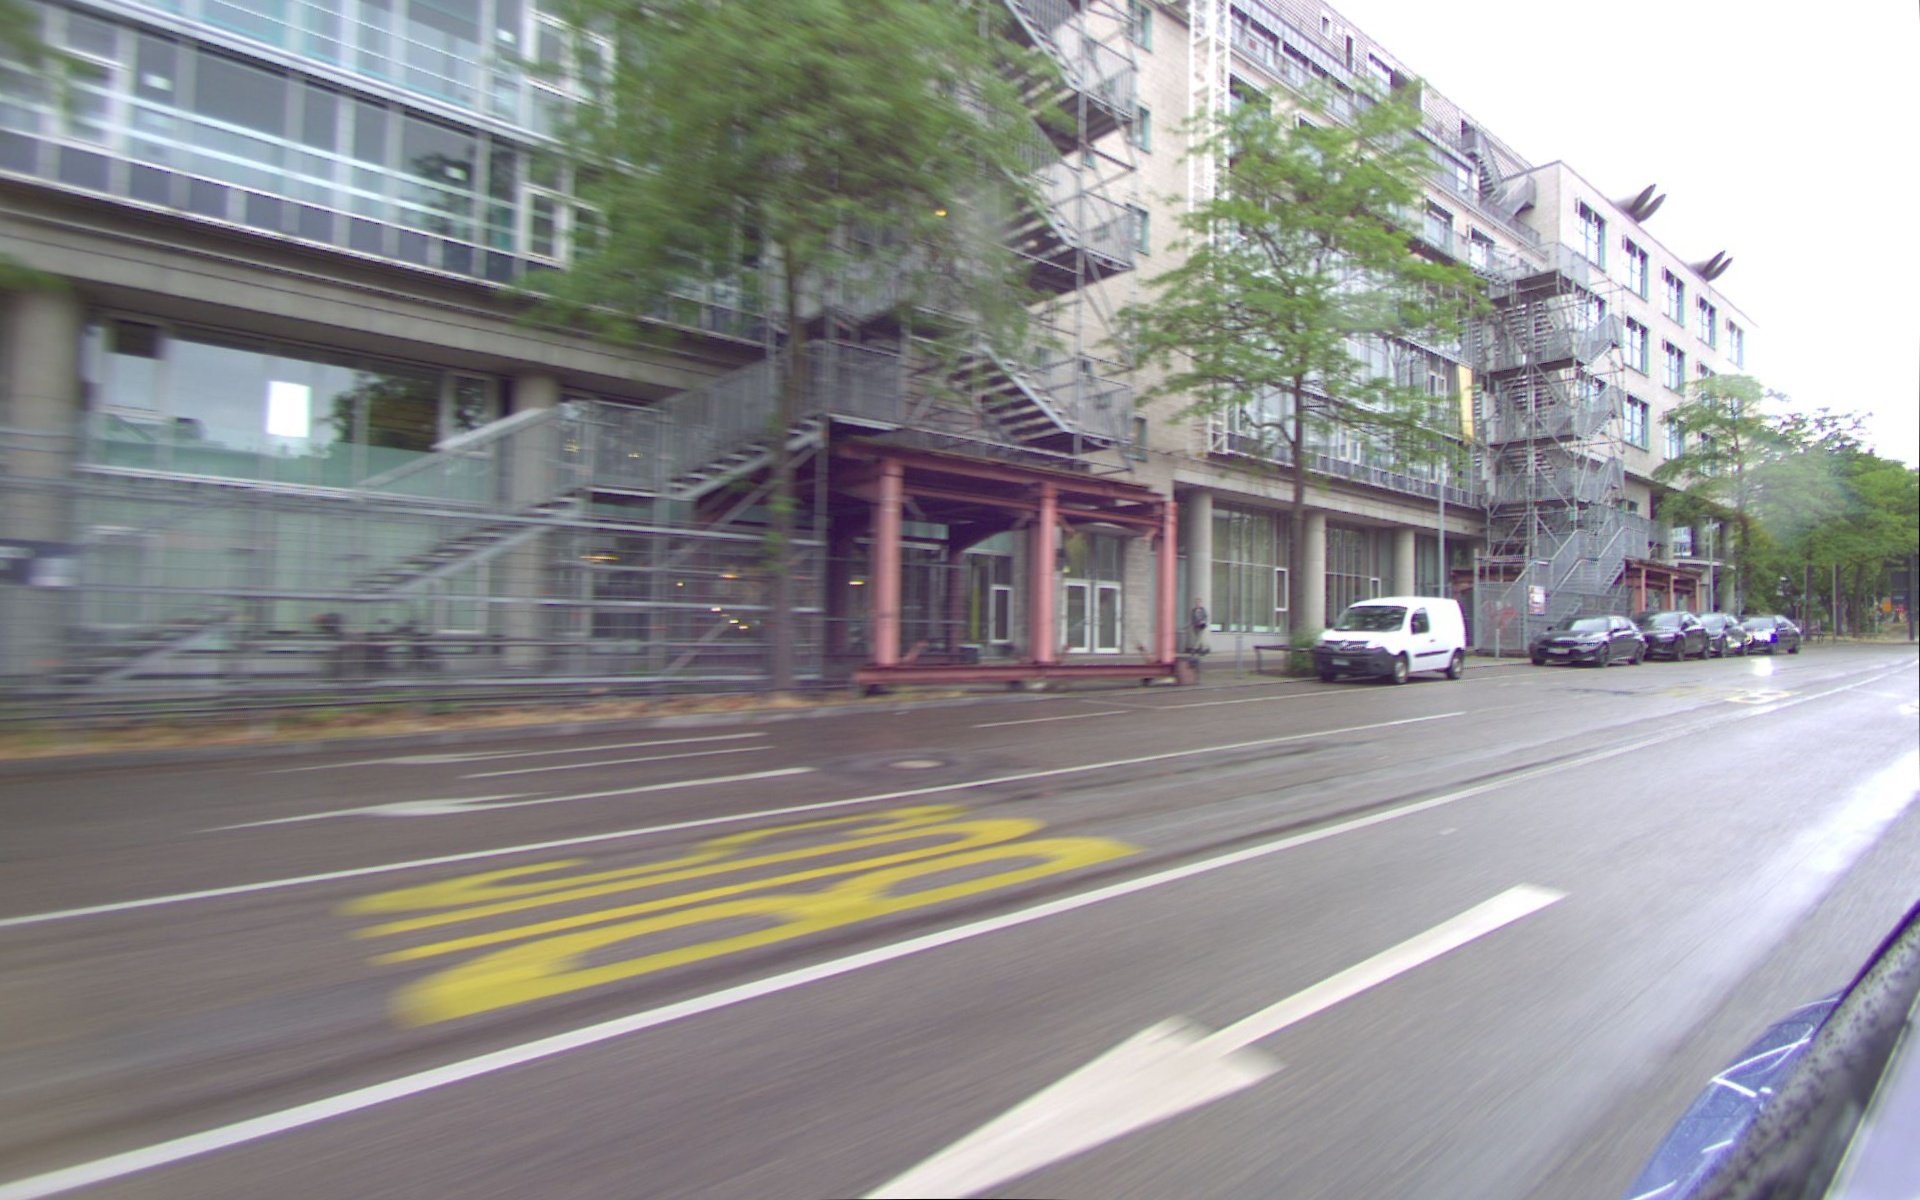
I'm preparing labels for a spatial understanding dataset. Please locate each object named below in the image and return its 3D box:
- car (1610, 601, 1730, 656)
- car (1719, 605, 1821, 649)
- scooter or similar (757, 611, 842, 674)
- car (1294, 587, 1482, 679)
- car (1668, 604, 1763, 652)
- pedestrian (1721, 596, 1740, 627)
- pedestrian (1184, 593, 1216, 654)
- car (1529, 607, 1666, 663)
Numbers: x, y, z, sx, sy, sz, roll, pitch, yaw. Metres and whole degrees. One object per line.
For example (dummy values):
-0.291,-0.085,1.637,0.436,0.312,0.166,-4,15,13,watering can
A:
23.431,0.905,33.329,4.773,1.667,1.998,1,-1,-39,car
32.178,1.066,40.172,5.191,1.621,1.999,1,-1,-38,car
-3.117,0.802,19.751,1.520,1.176,0.632,1,-1,-41,scooter or similar
9.301,0.662,21.832,4.447,1.772,1.997,1,-1,-41,car
27.458,0.989,36.743,4.512,1.621,1.864,1,-1,-41,car
51.127,0.736,67.151,0.746,2.039,0.869,1,-2,-45,pedestrian
7.136,0.693,30.100,0.641,1.764,0.678,1,-1,-38,pedestrian
18.329,0.976,29.021,4.831,1.456,1.873,1,-1,-39,car
